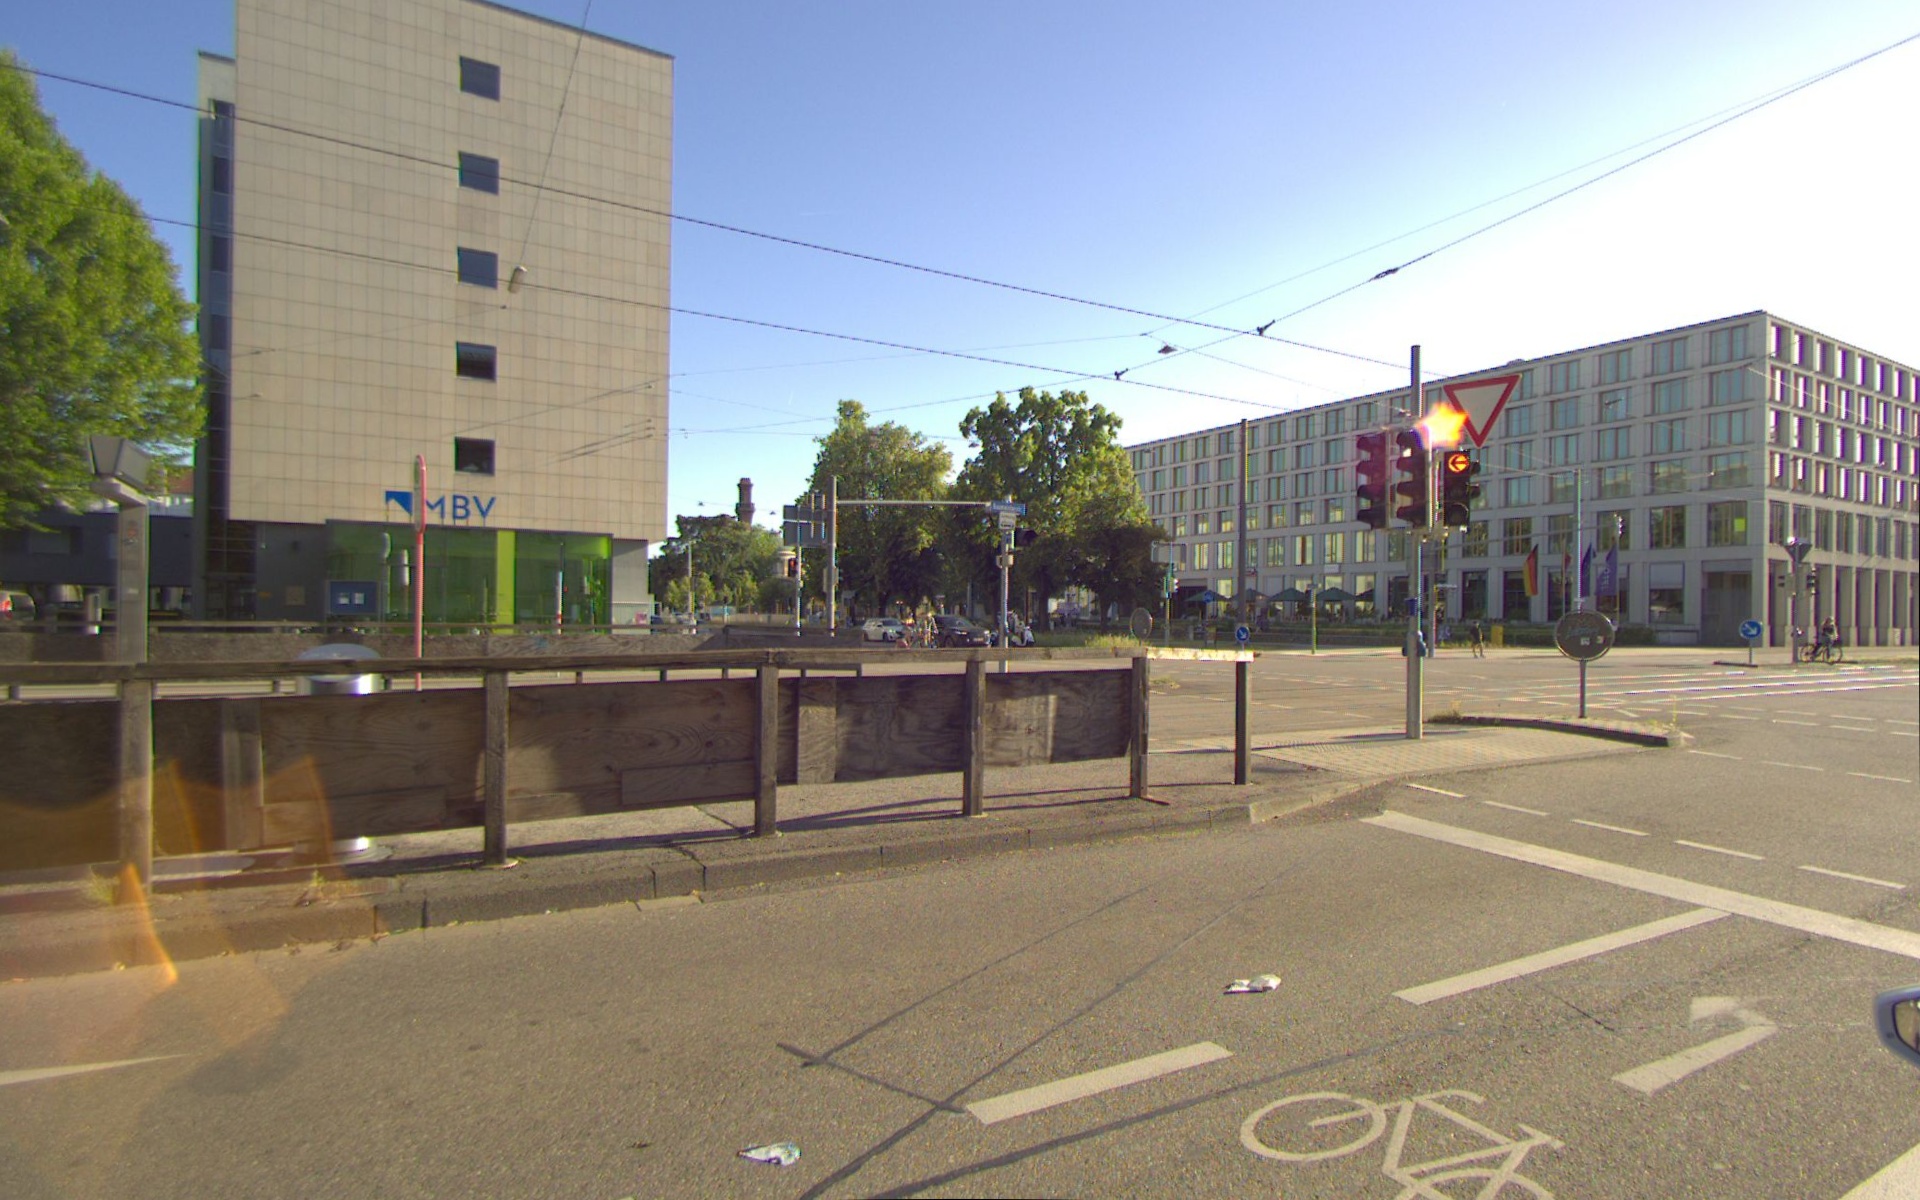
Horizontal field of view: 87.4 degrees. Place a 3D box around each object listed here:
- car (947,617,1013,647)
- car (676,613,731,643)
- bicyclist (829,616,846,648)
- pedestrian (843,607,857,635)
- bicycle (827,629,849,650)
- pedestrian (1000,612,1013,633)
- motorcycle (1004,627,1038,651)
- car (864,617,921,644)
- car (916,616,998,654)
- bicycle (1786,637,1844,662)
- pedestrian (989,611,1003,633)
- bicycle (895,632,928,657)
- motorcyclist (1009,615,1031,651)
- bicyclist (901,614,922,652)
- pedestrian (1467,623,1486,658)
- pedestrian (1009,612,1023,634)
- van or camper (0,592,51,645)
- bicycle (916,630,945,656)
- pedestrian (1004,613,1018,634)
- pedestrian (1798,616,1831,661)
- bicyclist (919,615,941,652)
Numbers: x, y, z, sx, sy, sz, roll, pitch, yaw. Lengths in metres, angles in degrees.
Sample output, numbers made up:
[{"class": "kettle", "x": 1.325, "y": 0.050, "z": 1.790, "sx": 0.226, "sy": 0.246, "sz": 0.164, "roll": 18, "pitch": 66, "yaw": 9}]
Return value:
[{"class": "car", "x": 1.018, "y": 1.658, "z": 52.212, "sx": 1.674, "sy": 1.506, "sz": 3.719, "roll": 1, "pitch": -1, "yaw": -33}, {"class": "car", "x": -13.915, "y": 1.496, "z": 54.380, "sx": 1.975, "sy": 1.472, "sz": 4.179, "roll": 2, "pitch": 0, "yaw": -28}, {"class": "bicyclist", "x": -6.267, "y": 1.639, "z": 51.431, "sx": 0.576, "sy": 1.658, "sz": 0.890, "roll": 1, "pitch": -1, "yaw": -27}, {"class": "pedestrian", "x": -8.152, "y": 1.556, "z": 74.143, "sx": 0.772, "sy": 2.040, "sz": 0.747, "roll": 1, "pitch": -1, "yaw": -31}, {"class": "bicycle", "x": -6.266, "y": 1.996, "z": 51.418, "sx": 0.576, "sy": 1.032, "sz": 1.666, "roll": 1, "pitch": -1, "yaw": -27}, {"class": "pedestrian", "x": 3.860, "y": 1.855, "z": 83.561, "sx": 0.858, "sy": 1.738, "sz": 0.737, "roll": 2, "pitch": 0, "yaw": -26}, {"class": "motorcycle", "x": 2.845, "y": 1.821, "z": 46.960, "sx": 0.624, "sy": 1.030, "sz": 1.972, "roll": -3, "pitch": 1, "yaw": -28}, {"class": "car", "x": -4.072, "y": 1.797, "z": 60.267, "sx": 1.975, "sy": 1.537, "sz": 3.971, "roll": 1, "pitch": -1, "yaw": -28}, {"class": "car", "x": -0.174, "y": 1.534, "z": 44.561, "sx": 1.925, "sy": 1.561, "sz": 3.969, "roll": 2, "pitch": -2, "yaw": -29}, {"class": "bicycle", "x": 30.946, "y": 1.785, "z": 36.384, "sx": 0.562, "sy": 0.834, "sz": 1.718, "roll": 1, "pitch": -1, "yaw": -2}, {"class": "pedestrian", "x": 2.979, "y": 1.826, "z": 83.219, "sx": 0.858, "sy": 1.738, "sz": 0.737, "roll": 2, "pitch": 0, "yaw": -26}, {"class": "bicycle", "x": -2.041, "y": 1.847, "z": 42.025, "sx": 0.577, "sy": 1.032, "sz": 1.806, "roll": 1, "pitch": -3, "yaw": -31}, {"class": "motorcyclist", "x": 2.805, "y": 1.539, "z": 46.991, "sx": 0.624, "sy": 1.601, "sz": 0.812, "roll": -3, "pitch": 1, "yaw": -28}, {"class": "bicyclist", "x": -2.036, "y": 1.369, "z": 42.021, "sx": 0.577, "sy": 1.563, "sz": 0.833, "roll": 1, "pitch": -2, "yaw": -32}, {"class": "pedestrian", "x": 25.011, "y": 1.960, "z": 48.650, "sx": 0.597, "sy": 1.703, "sz": 0.603, "roll": 1, "pitch": -1, "yaw": -19}, {"class": "pedestrian", "x": 4.644, "y": 1.874, "z": 82.680, "sx": 0.858, "sy": 1.738, "sz": 0.737, "roll": 2, "pitch": 0, "yaw": -26}, {"class": "van or camper", "x": -27.893, "y": 0.433, "z": 27.574, "sx": 3.954, "sy": 1.425, "sz": 1.954, "roll": 4, "pitch": -3, "yaw": -30}, {"class": "bicycle", "x": -1.269, "y": 1.814, "z": 42.386, "sx": 0.576, "sy": 1.032, "sz": 1.666, "roll": 1, "pitch": -1, "yaw": -27}, {"class": "pedestrian", "x": 4.328, "y": 1.988, "z": 85.085, "sx": 0.858, "sy": 1.738, "sz": 0.737, "roll": 2, "pitch": 0, "yaw": -26}, {"class": "pedestrian", "x": 30.954, "y": 1.389, "z": 36.383, "sx": 0.562, "sy": 1.616, "sz": 0.744, "roll": 1, "pitch": -1, "yaw": -3}, {"class": "bicyclist", "x": -1.276, "y": 1.414, "z": 42.421, "sx": 0.576, "sy": 1.563, "sz": 0.890, "roll": 1, "pitch": -1, "yaw": -27}]
